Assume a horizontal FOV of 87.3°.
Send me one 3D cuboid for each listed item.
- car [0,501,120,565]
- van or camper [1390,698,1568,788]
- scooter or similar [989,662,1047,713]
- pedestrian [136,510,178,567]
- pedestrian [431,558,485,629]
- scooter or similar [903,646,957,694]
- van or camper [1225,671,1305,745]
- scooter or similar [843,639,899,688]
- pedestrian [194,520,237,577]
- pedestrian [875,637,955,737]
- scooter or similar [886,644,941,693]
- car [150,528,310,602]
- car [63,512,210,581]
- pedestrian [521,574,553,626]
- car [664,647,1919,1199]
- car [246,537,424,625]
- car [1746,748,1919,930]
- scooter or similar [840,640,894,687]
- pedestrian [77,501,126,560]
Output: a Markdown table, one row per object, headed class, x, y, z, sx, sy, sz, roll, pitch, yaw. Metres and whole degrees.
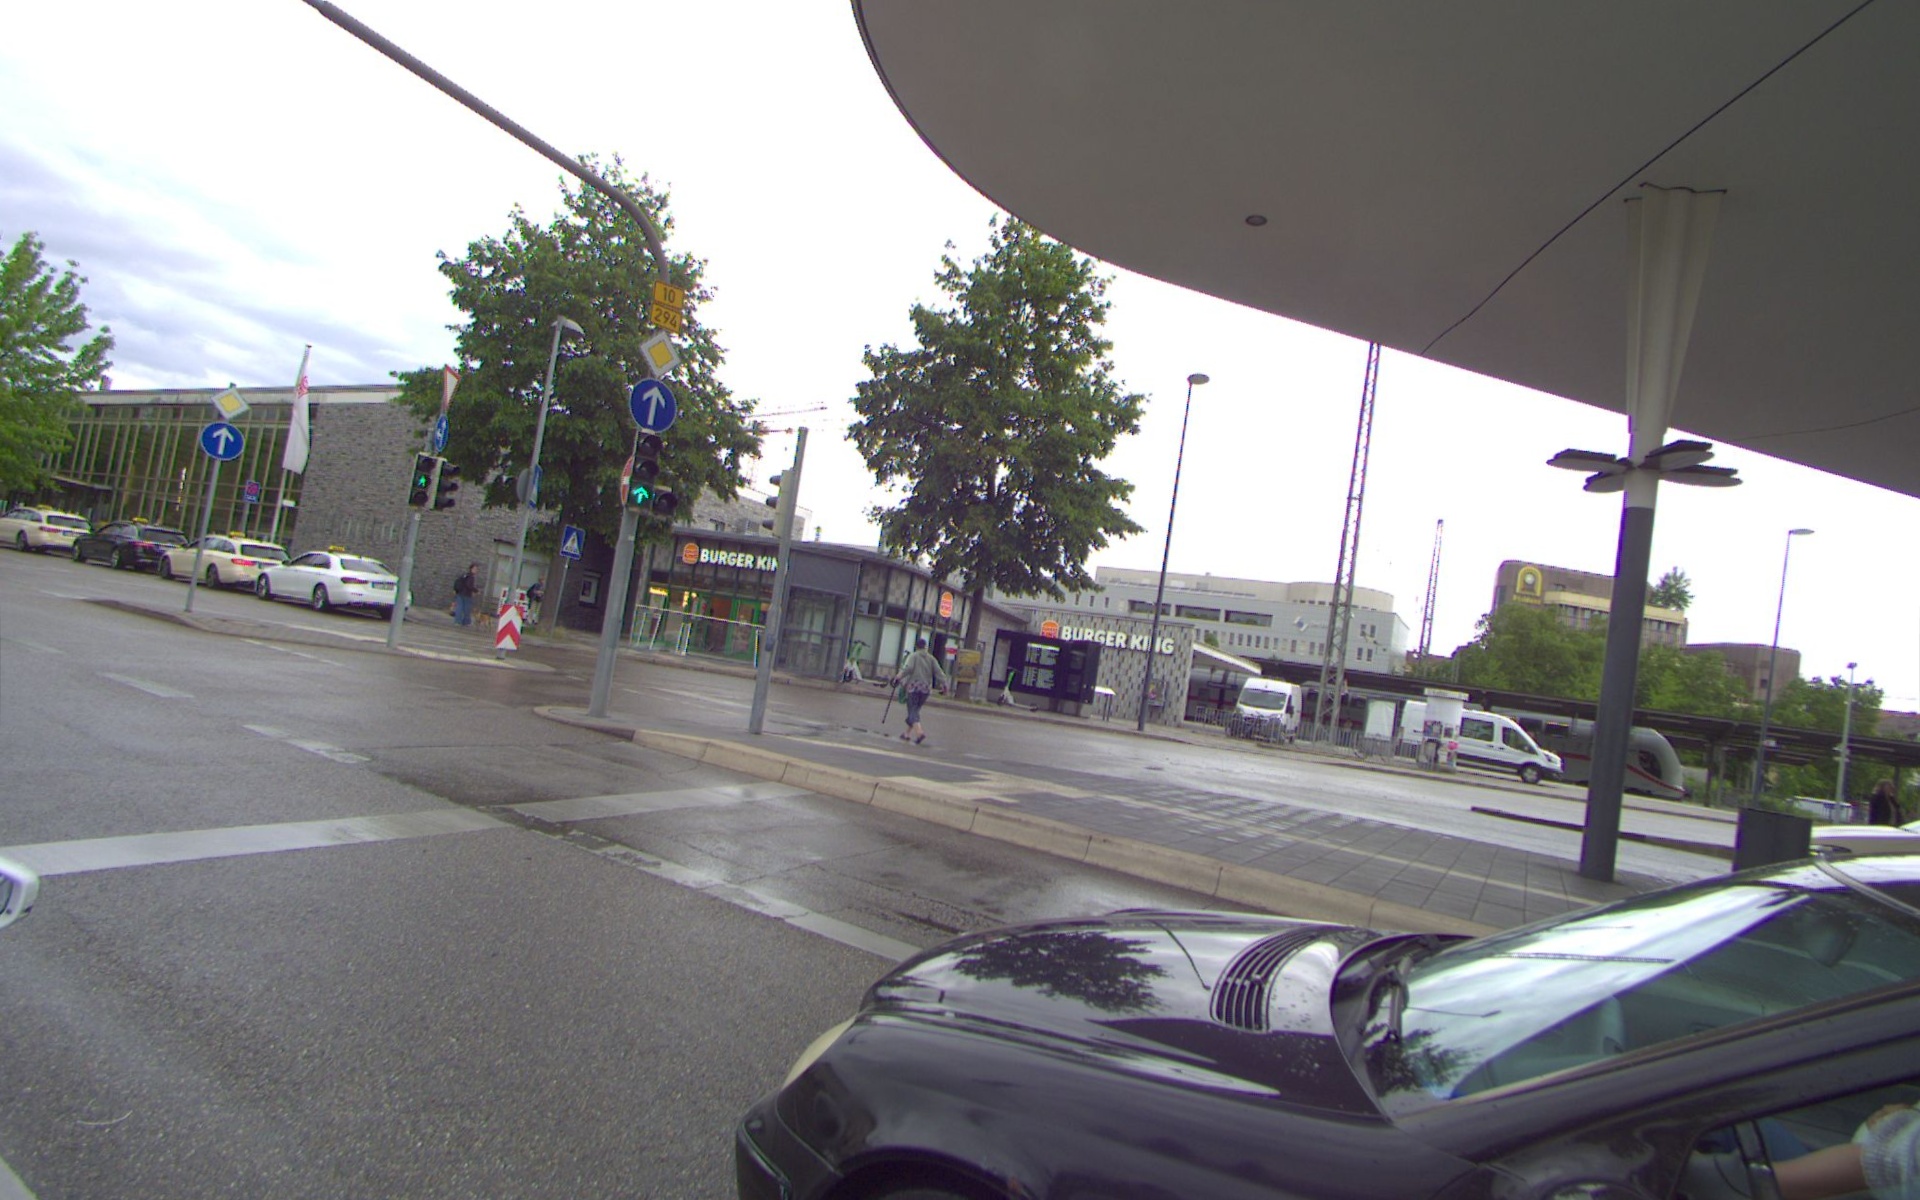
| class | x | y | z | sx | sy | sz | roll | pitch | yaw |
| --- | --- | --- | --- | --- | --- | --- | --- | --- | --- |
| car | -31.431 | -2.370 | 34.536 | 4.736 | 1.618 | 2.000 | 7 | -2 | 25 |
| van or camper | 20.341 | 5.544 | 39.544 | 5.873 | 2.491 | 2.108 | 7 | -2 | 32 |
| scooter or similar | 1.714 | 2.593 | 29.775 | 1.503 | 1.284 | 0.467 | 8 | -1 | -4 |
| pedestrian | -31.446 | -2.411 | 39.384 | 0.906 | 2.036 | 0.813 | 7 | -2 | 32 |
| pedestrian | -13.077 | -0.170 | 26.220 | 0.700 | 1.693 | 0.809 | 7 | -2 | 31 |
| scooter or similar | -0.946 | 2.160 | 31.173 | 1.503 | 1.284 | 0.467 | 8 | -1 | -4 |
| van or camper | 12.542 | 4.409 | 41.013 | 2.072 | 2.491 | 5.975 | 7 | -3 | 25 |
| scooter or similar | -2.458 | 1.755 | 27.761 | 1.309 | 1.167 | 0.465 | 9 | -2 | -21 |
| pedestrian | -28.872 | -1.999 | 39.027 | 0.906 | 2.036 | 0.813 | 7 | -2 | 31 |
| pedestrian | -0.673 | 1.327 | 15.279 | 0.753 | 1.374 | 0.738 | 7 | -3 | 31 |
| scooter or similar | -1.409 | 2.061 | 30.348 | 1.503 | 1.284 | 0.467 | 8 | -1 | -4 |
| car | -20.628 | -1.001 | 28.383 | 4.588 | 1.468 | 1.851 | 7 | -2 | 30 |
| car | -25.836 | -1.695 | 31.525 | 4.662 | 1.542 | 1.918 | 7 | -2 | 30 |
| pedestrian | -14.326 | 0.015 | 34.079 | 0.556 | 1.652 | 0.562 | 7 | -2 | 30 |
| car | 1.743 | 1.139 | 1.516 | 4.364 | 1.493 | 1.753 | 4 | -8 | 33 |
| car | -15.851 | -0.505 | 25.456 | 4.538 | 1.608 | 1.779 | 7 | -2 | 30 |
| car | 11.236 | 2.788 | 10.565 | 4.360 | 1.665 | 1.807 | 7 | -5 | 32 |
| scooter or similar | -2.627 | 1.805 | 28.419 | 1.313 | 1.157 | 0.464 | 9 | -2 | -31 |
| pedestrian | -32.736 | -2.639 | 38.383 | 0.904 | 2.036 | 0.815 | 8 | -1 | 8 |
